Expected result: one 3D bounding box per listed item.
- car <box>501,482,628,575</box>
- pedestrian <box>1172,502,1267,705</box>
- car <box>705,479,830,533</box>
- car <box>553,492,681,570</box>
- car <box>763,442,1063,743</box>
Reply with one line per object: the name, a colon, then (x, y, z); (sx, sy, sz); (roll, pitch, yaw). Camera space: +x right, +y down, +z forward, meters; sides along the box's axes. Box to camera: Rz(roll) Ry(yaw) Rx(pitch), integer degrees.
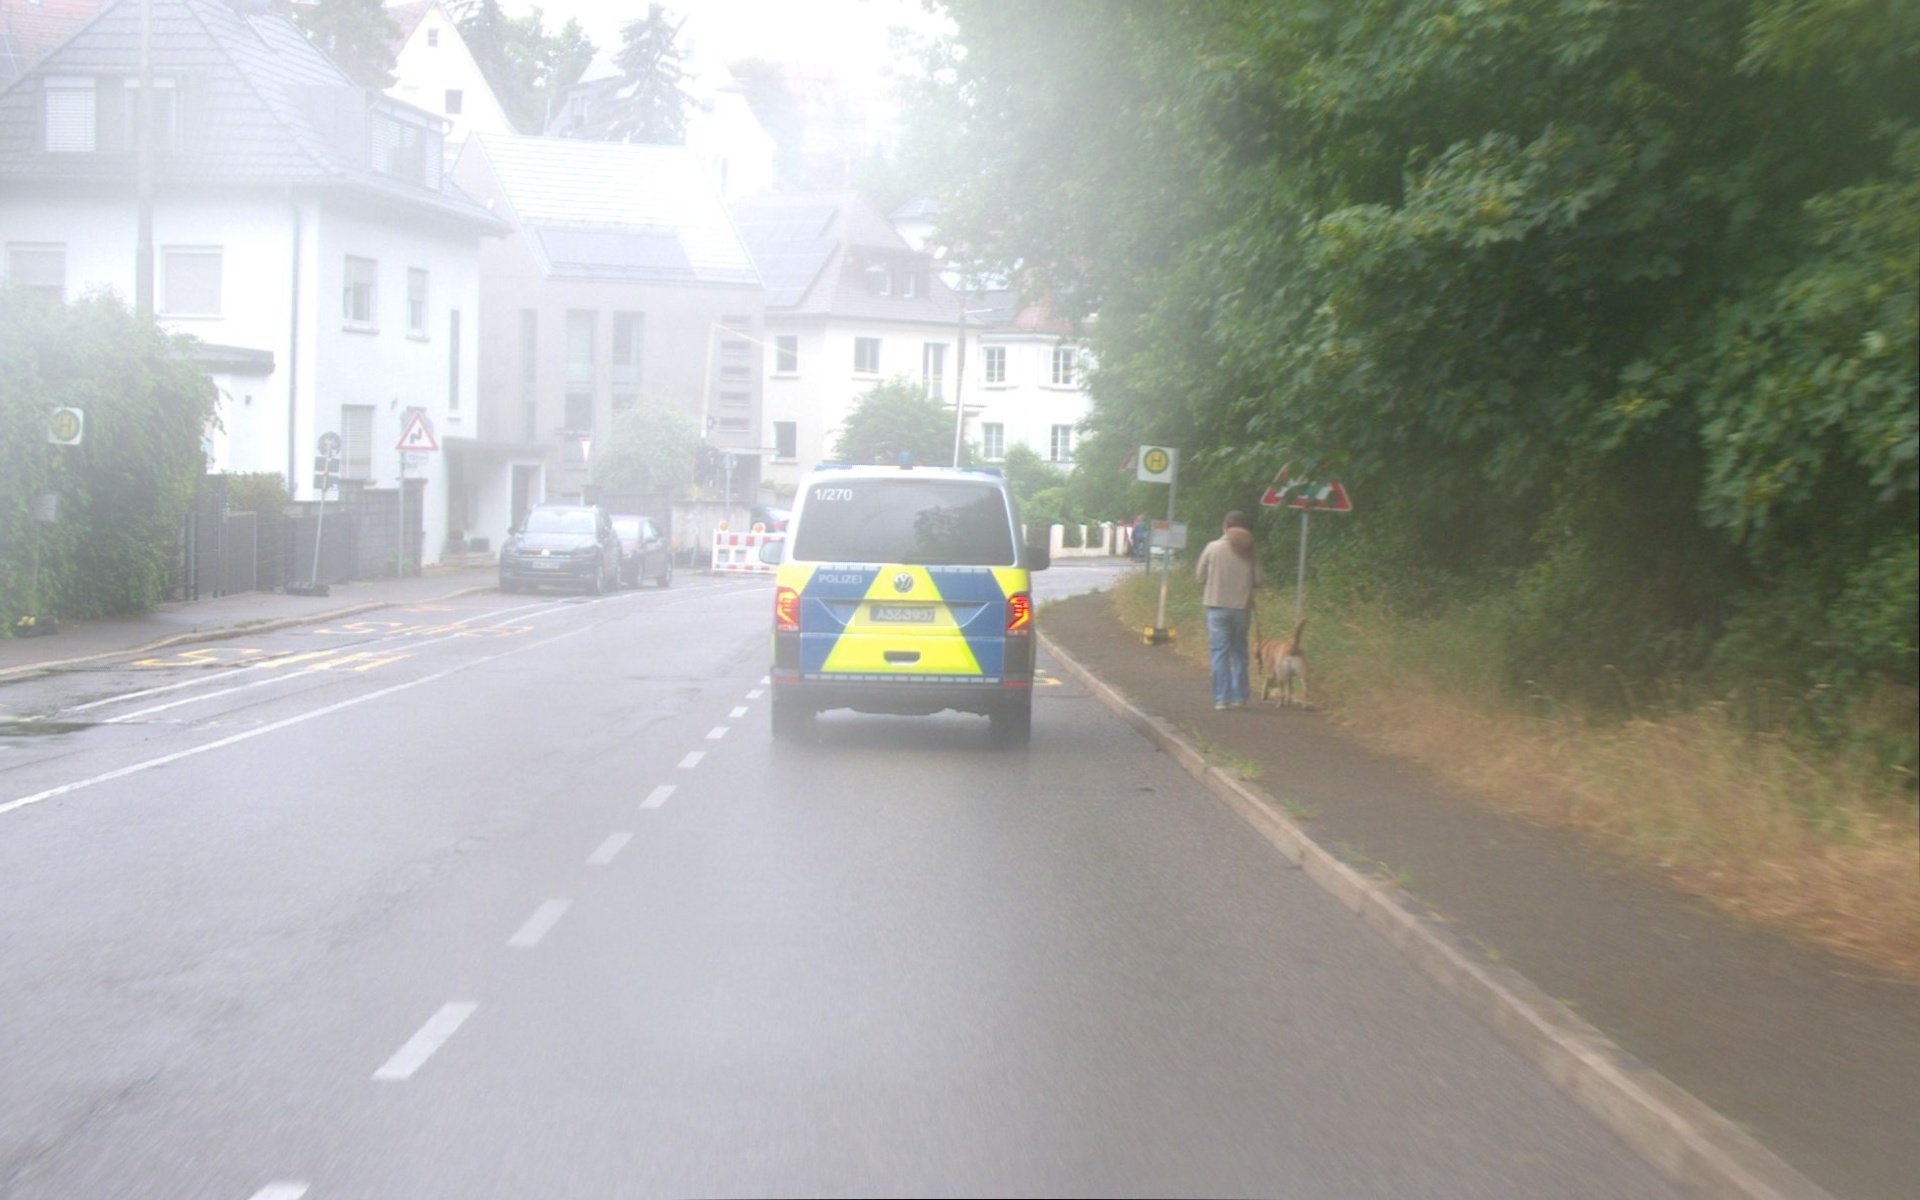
car: (-7.327, -1.361, 64.012); (1.754, 1.653, 4.405); (1, 2, 1)
pedestrian: (2.091, 0.025, 27.762); (0.642, 1.605, 0.670); (2, 0, -1)
car: (-5.927, -2.904, 105.454); (1.834, 1.438, 4.000); (1, 3, -38)
car: (-6.906, -1.423, 69.574); (1.617, 1.435, 4.229); (3, 2, 7)
car: (-0.406, -0.061, 25.596); (1.993, 2.007, 4.402); (1, 0, -2)
